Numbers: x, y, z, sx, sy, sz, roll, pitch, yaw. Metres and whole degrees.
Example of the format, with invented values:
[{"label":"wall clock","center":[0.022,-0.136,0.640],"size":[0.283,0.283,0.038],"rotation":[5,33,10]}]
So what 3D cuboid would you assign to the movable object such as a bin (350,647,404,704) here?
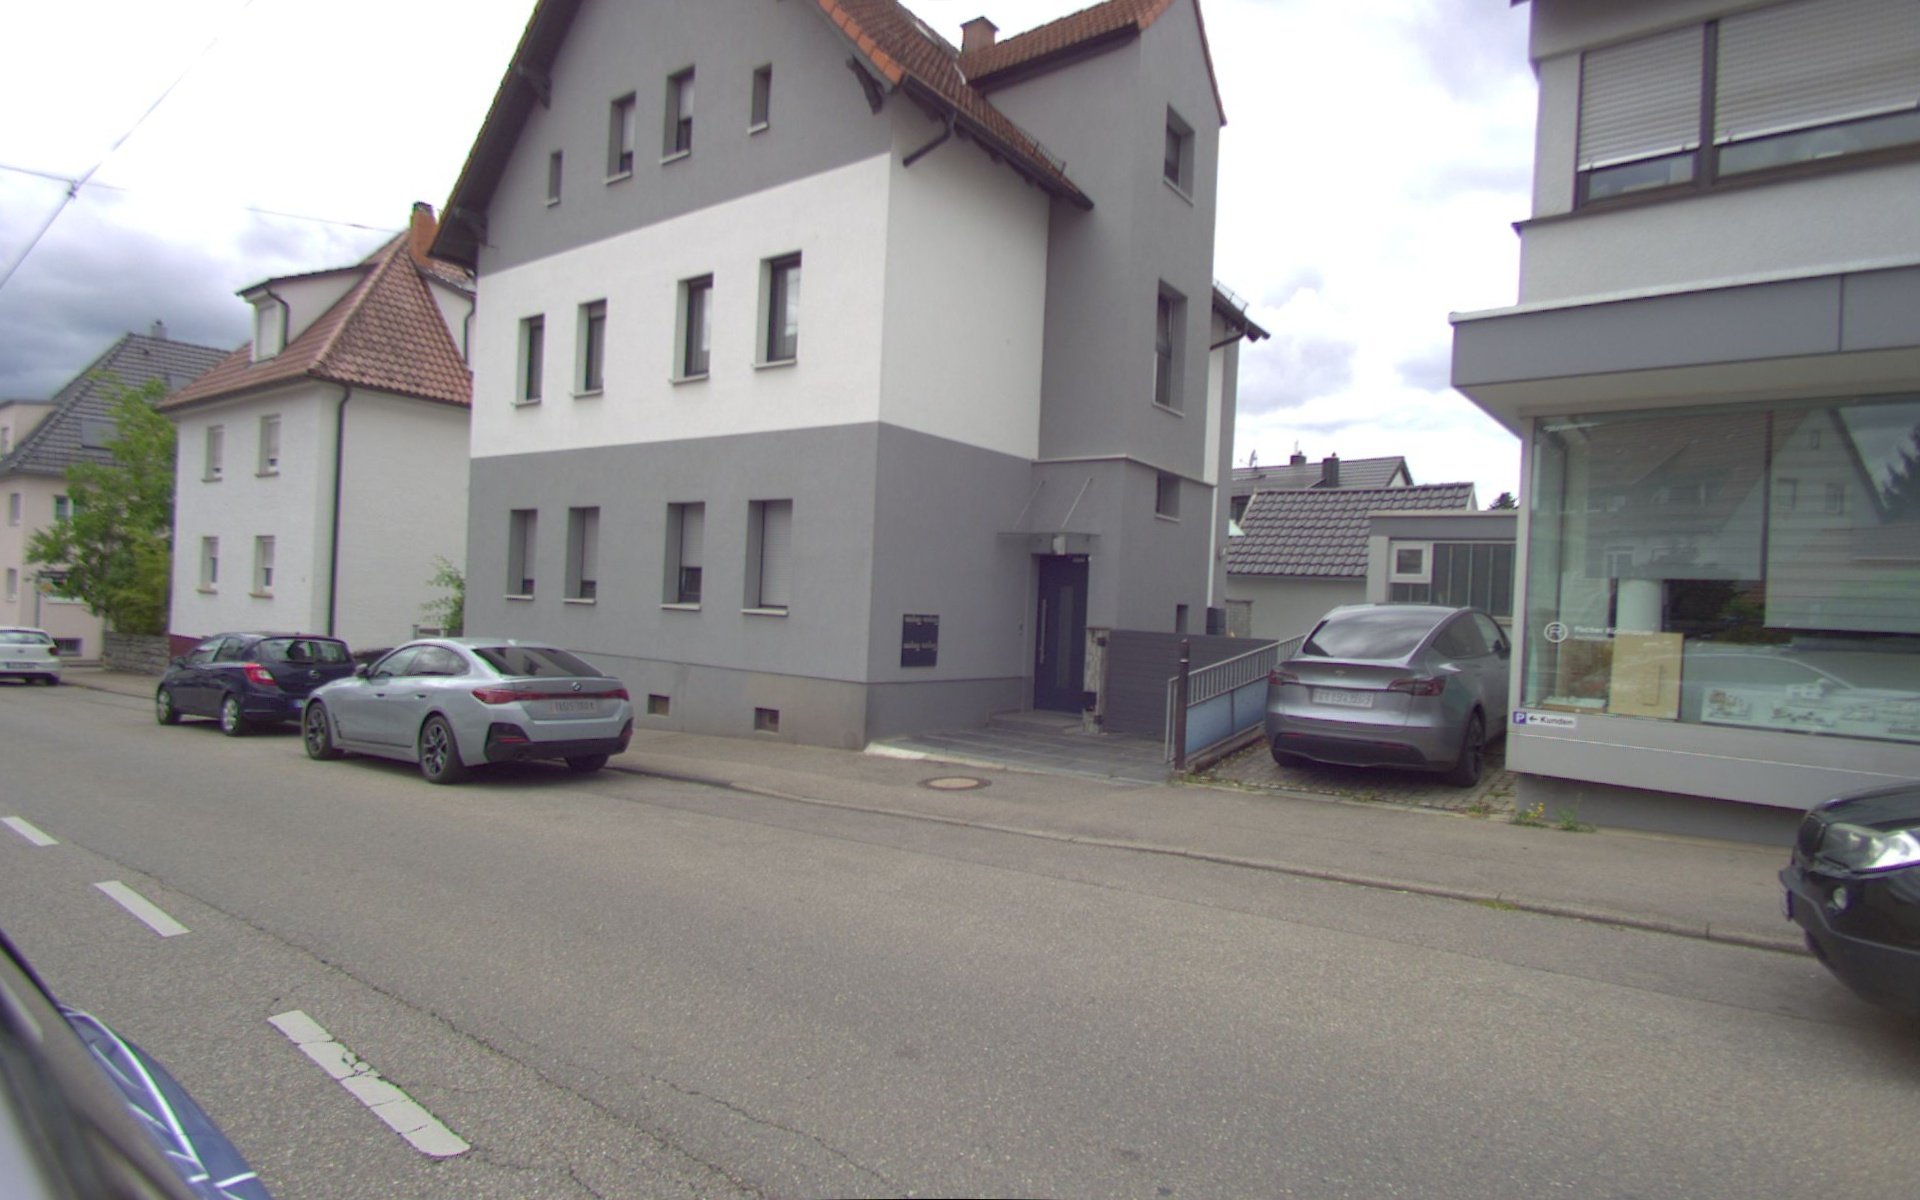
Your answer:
[{"label":"movable object such as a bin","center":[-11.332,1.453,19.682],"size":[0.758,1.053,0.671],"rotation":[-1,0,37]}]

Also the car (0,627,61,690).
[{"label":"car","center":[-24.099,1.422,25.326],"size":[3.805,1.458,1.634],"rotation":[-1,-3,37]}]

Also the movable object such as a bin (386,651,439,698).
[{"label":"movable object such as a bin","center":[-11.047,1.500,20.418],"size":[0.757,0.898,0.671],"rotation":[-4,-2,37]}]

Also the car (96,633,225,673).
[{"label":"car","center":[-31.027,2.030,39.350],"size":[1.706,1.421,3.684],"rotation":[-1,-2,41]}]

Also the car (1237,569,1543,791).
[{"label":"car","center":[4.685,0.772,10.707],"size":[1.998,1.870,3.948],"rotation":[-1,-3,39]}]

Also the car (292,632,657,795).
[{"label":"car","center":[-5.559,1.140,11.369],"size":[4.460,1.456,1.820],"rotation":[-1,-4,37]}]

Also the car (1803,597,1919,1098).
[{"label":"car","center":[5.323,0.846,2.857],"size":[4.401,1.645,1.820],"rotation":[-1,-4,38]}]

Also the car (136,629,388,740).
[{"label":"car","center":[-10.705,1.222,15.465],"size":[3.990,1.456,1.822],"rotation":[-1,-4,35]}]
